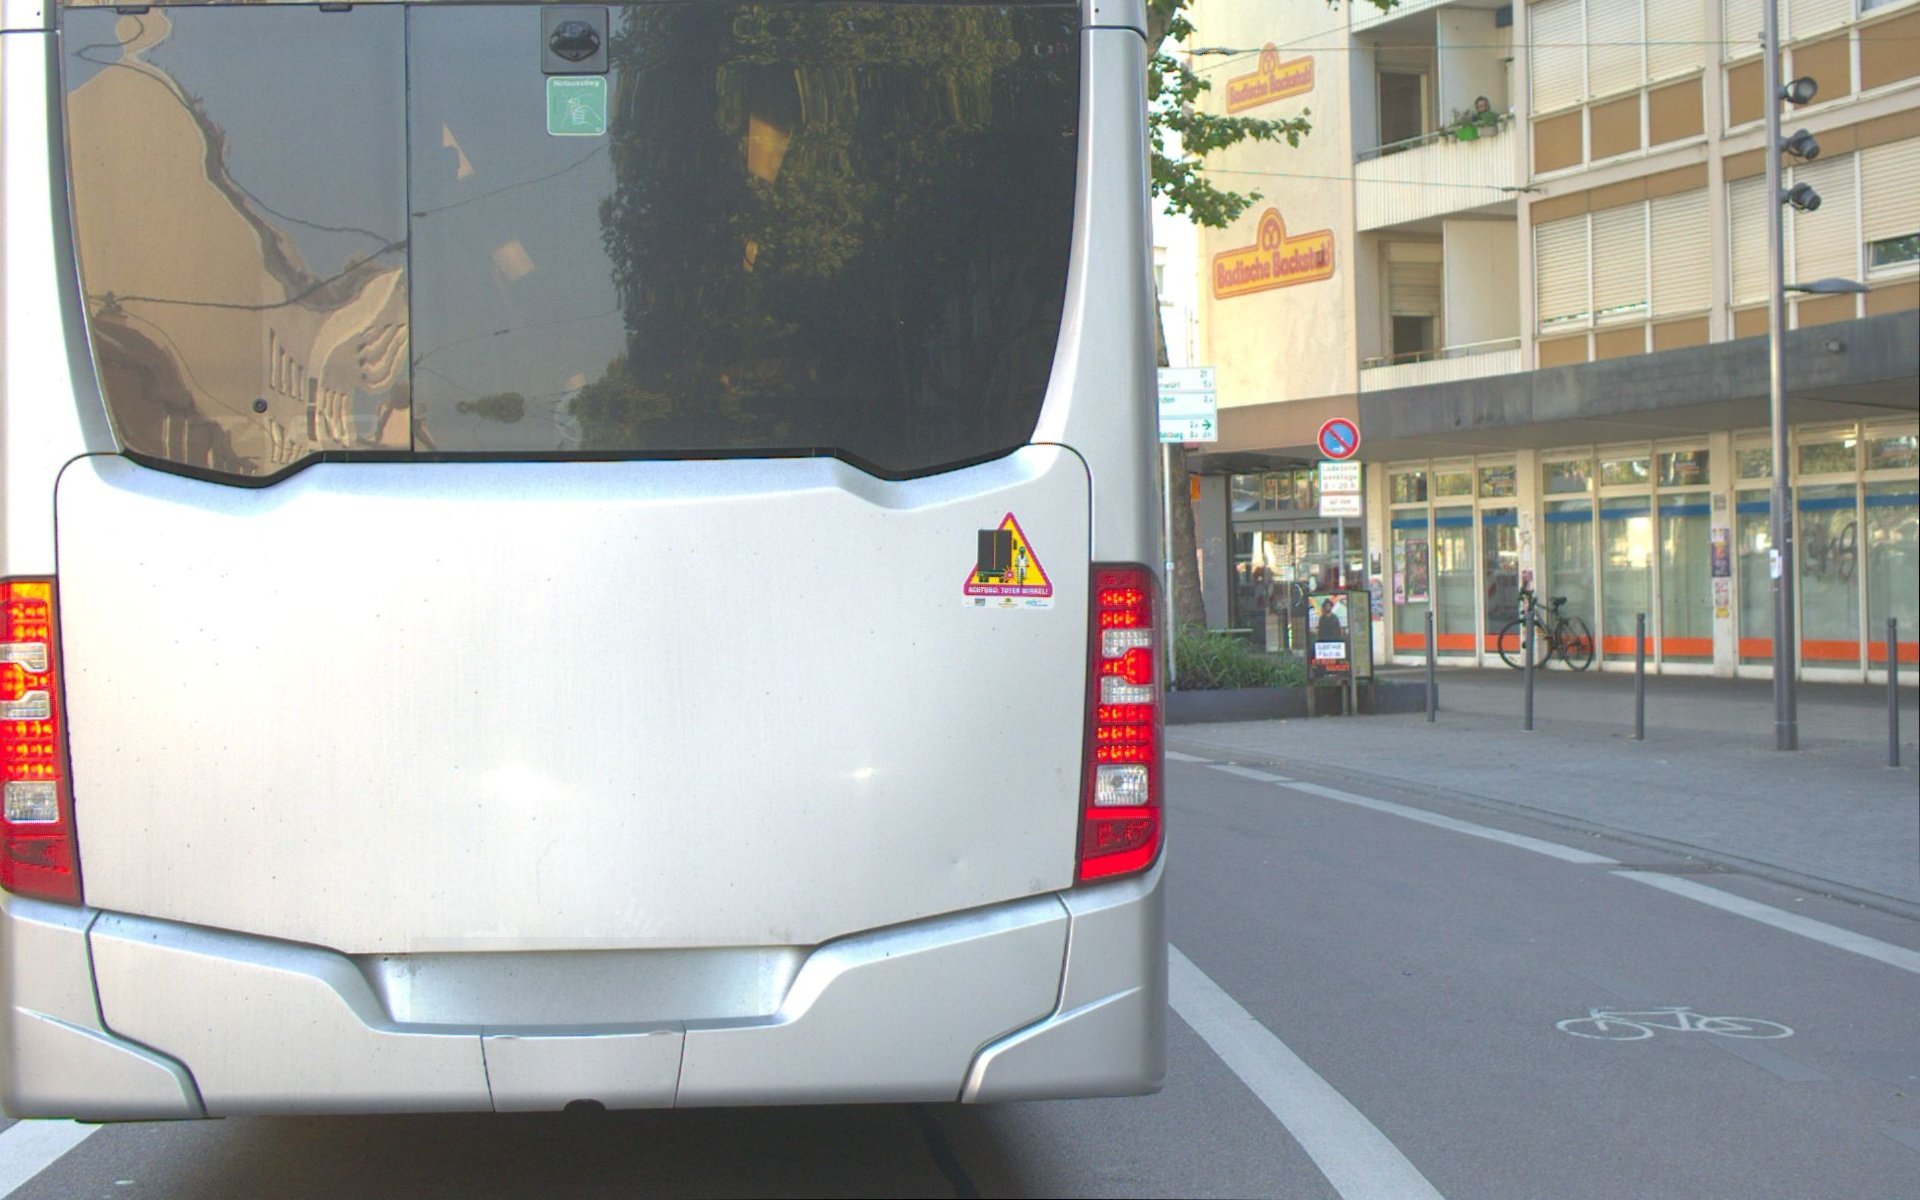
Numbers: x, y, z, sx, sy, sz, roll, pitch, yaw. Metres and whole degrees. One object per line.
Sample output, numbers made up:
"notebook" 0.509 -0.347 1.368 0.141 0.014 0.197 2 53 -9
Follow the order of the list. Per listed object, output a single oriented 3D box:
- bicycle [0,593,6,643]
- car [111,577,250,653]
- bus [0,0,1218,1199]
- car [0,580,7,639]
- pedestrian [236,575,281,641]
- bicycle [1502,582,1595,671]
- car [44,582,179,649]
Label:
"bicycle" -23.394 0.428 82.928 0.507 1.207 2.093 -1 1 -21
"car" -17.160 0.307 75.629 1.662 1.511 3.412 -5 3 -37
"bus" -1.067 -0.117 12.076 2.657 3.088 10.217 -1 0 -3
"car" -25.356 0.282 86.033 1.663 1.463 3.412 -5 3 -38
"pedestrian" -14.002 0.156 68.577 0.777 1.299 0.594 -1 0 -21
"bicycle" 7.412 0.325 43.331 0.437 1.089 1.462 -3 1 -20
"car" -19.509 0.333 78.954 1.663 1.390 3.411 -5 3 -38
